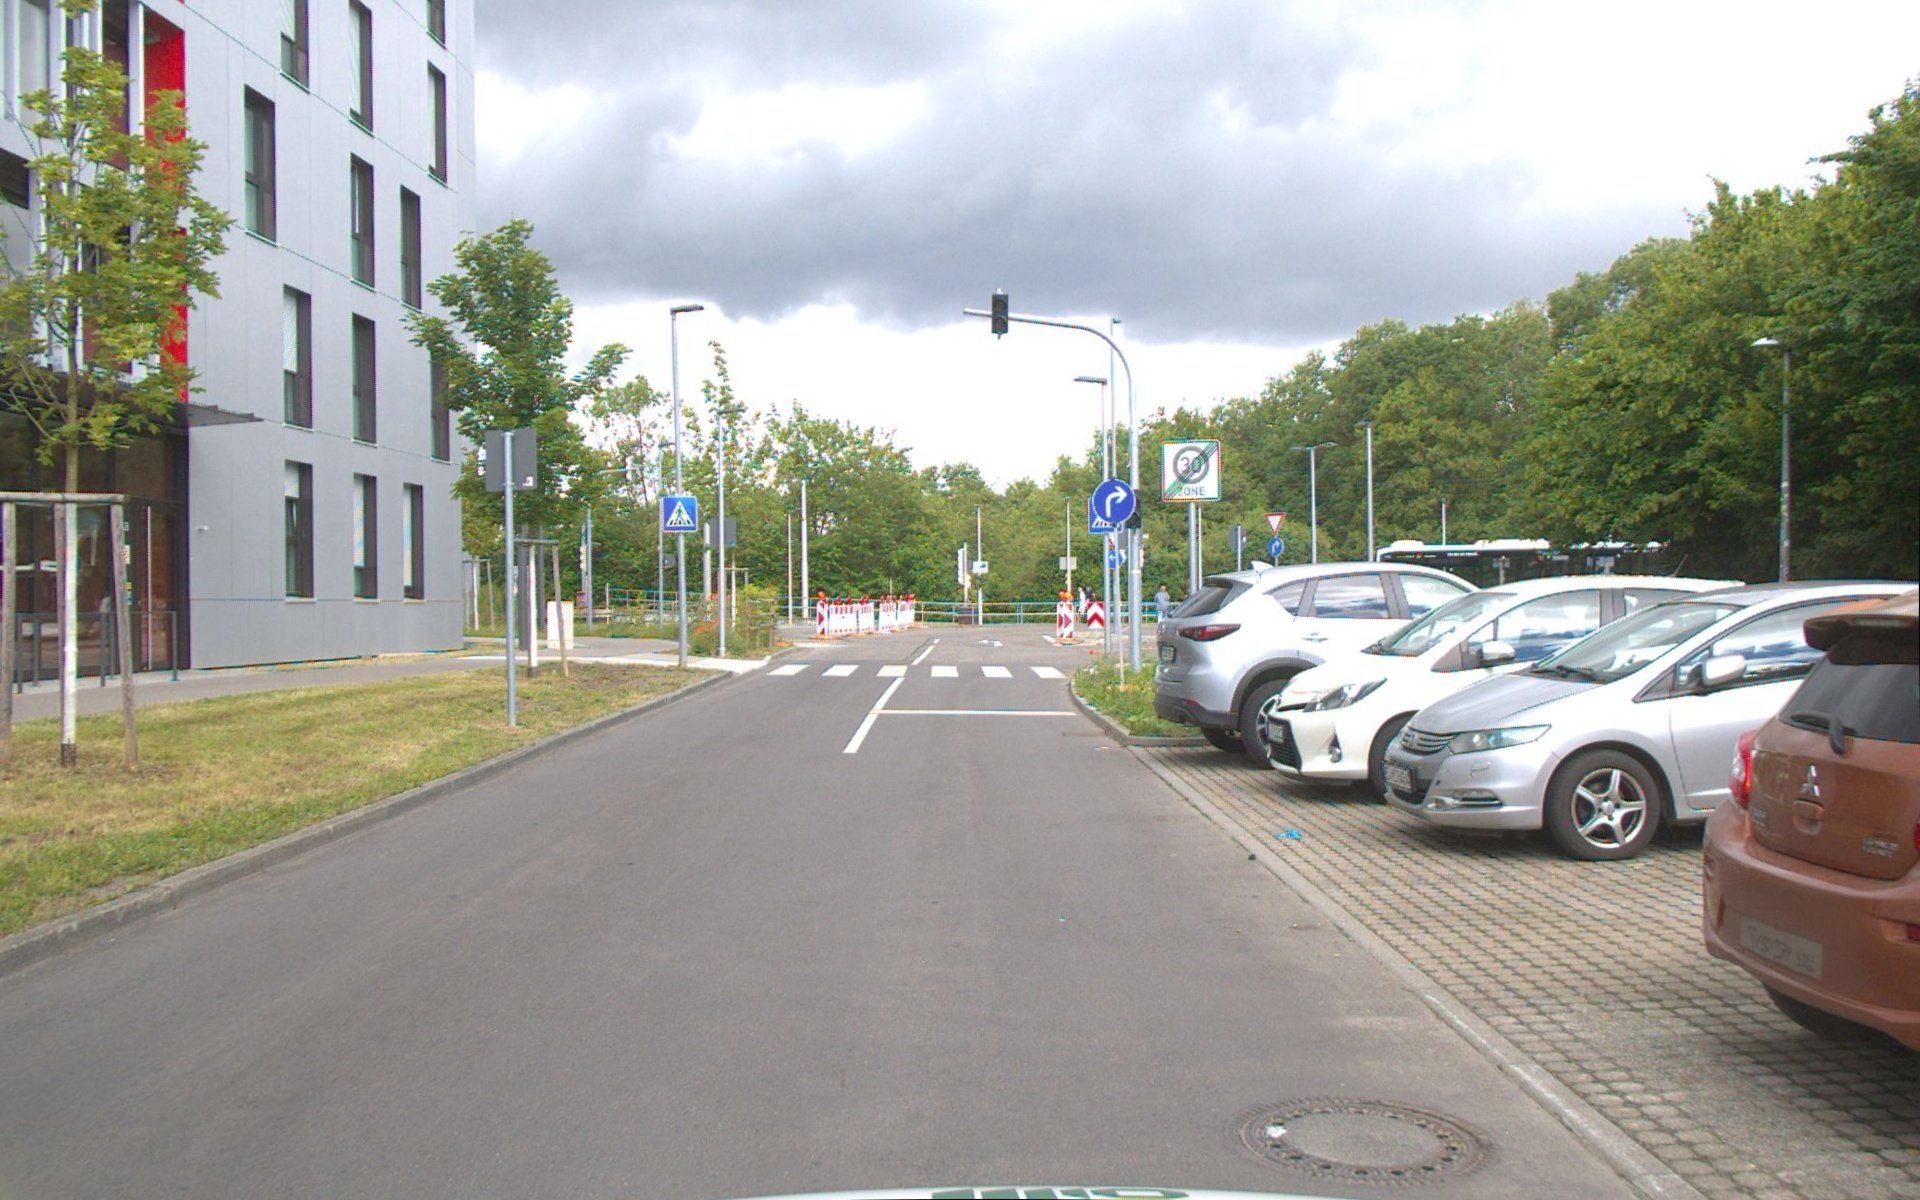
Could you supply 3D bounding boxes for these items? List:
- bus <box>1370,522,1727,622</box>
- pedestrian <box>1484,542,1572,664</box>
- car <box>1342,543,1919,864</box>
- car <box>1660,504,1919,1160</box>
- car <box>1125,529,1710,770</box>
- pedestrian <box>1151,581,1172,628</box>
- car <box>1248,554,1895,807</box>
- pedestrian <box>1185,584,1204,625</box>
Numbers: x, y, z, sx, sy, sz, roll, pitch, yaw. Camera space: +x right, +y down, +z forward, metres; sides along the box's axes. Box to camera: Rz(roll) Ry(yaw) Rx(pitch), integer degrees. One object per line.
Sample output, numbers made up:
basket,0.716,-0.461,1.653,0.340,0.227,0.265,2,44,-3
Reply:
bus,21.093,-0.957,60.065,11.899,3.259,2.677,-1,0,13
pedestrian,8.871,0.042,25.842,0.969,1.854,0.850,0,0,-26
car,4.710,0.502,9.784,4.388,1.589,1.910,-2,0,-3
car,4.395,0.514,4.722,4.062,1.619,1.677,-2,0,1
car,3.940,0.391,14.778,4.558,1.782,2.068,-3,0,-5
pedestrian,7.562,0.170,62.109,0.705,1.778,0.958,0,0,11
car,4.338,0.535,12.151,4.072,1.614,1.795,-1,0,-3
pedestrian,9.379,0.184,66.177,0.705,1.649,0.806,0,0,11
